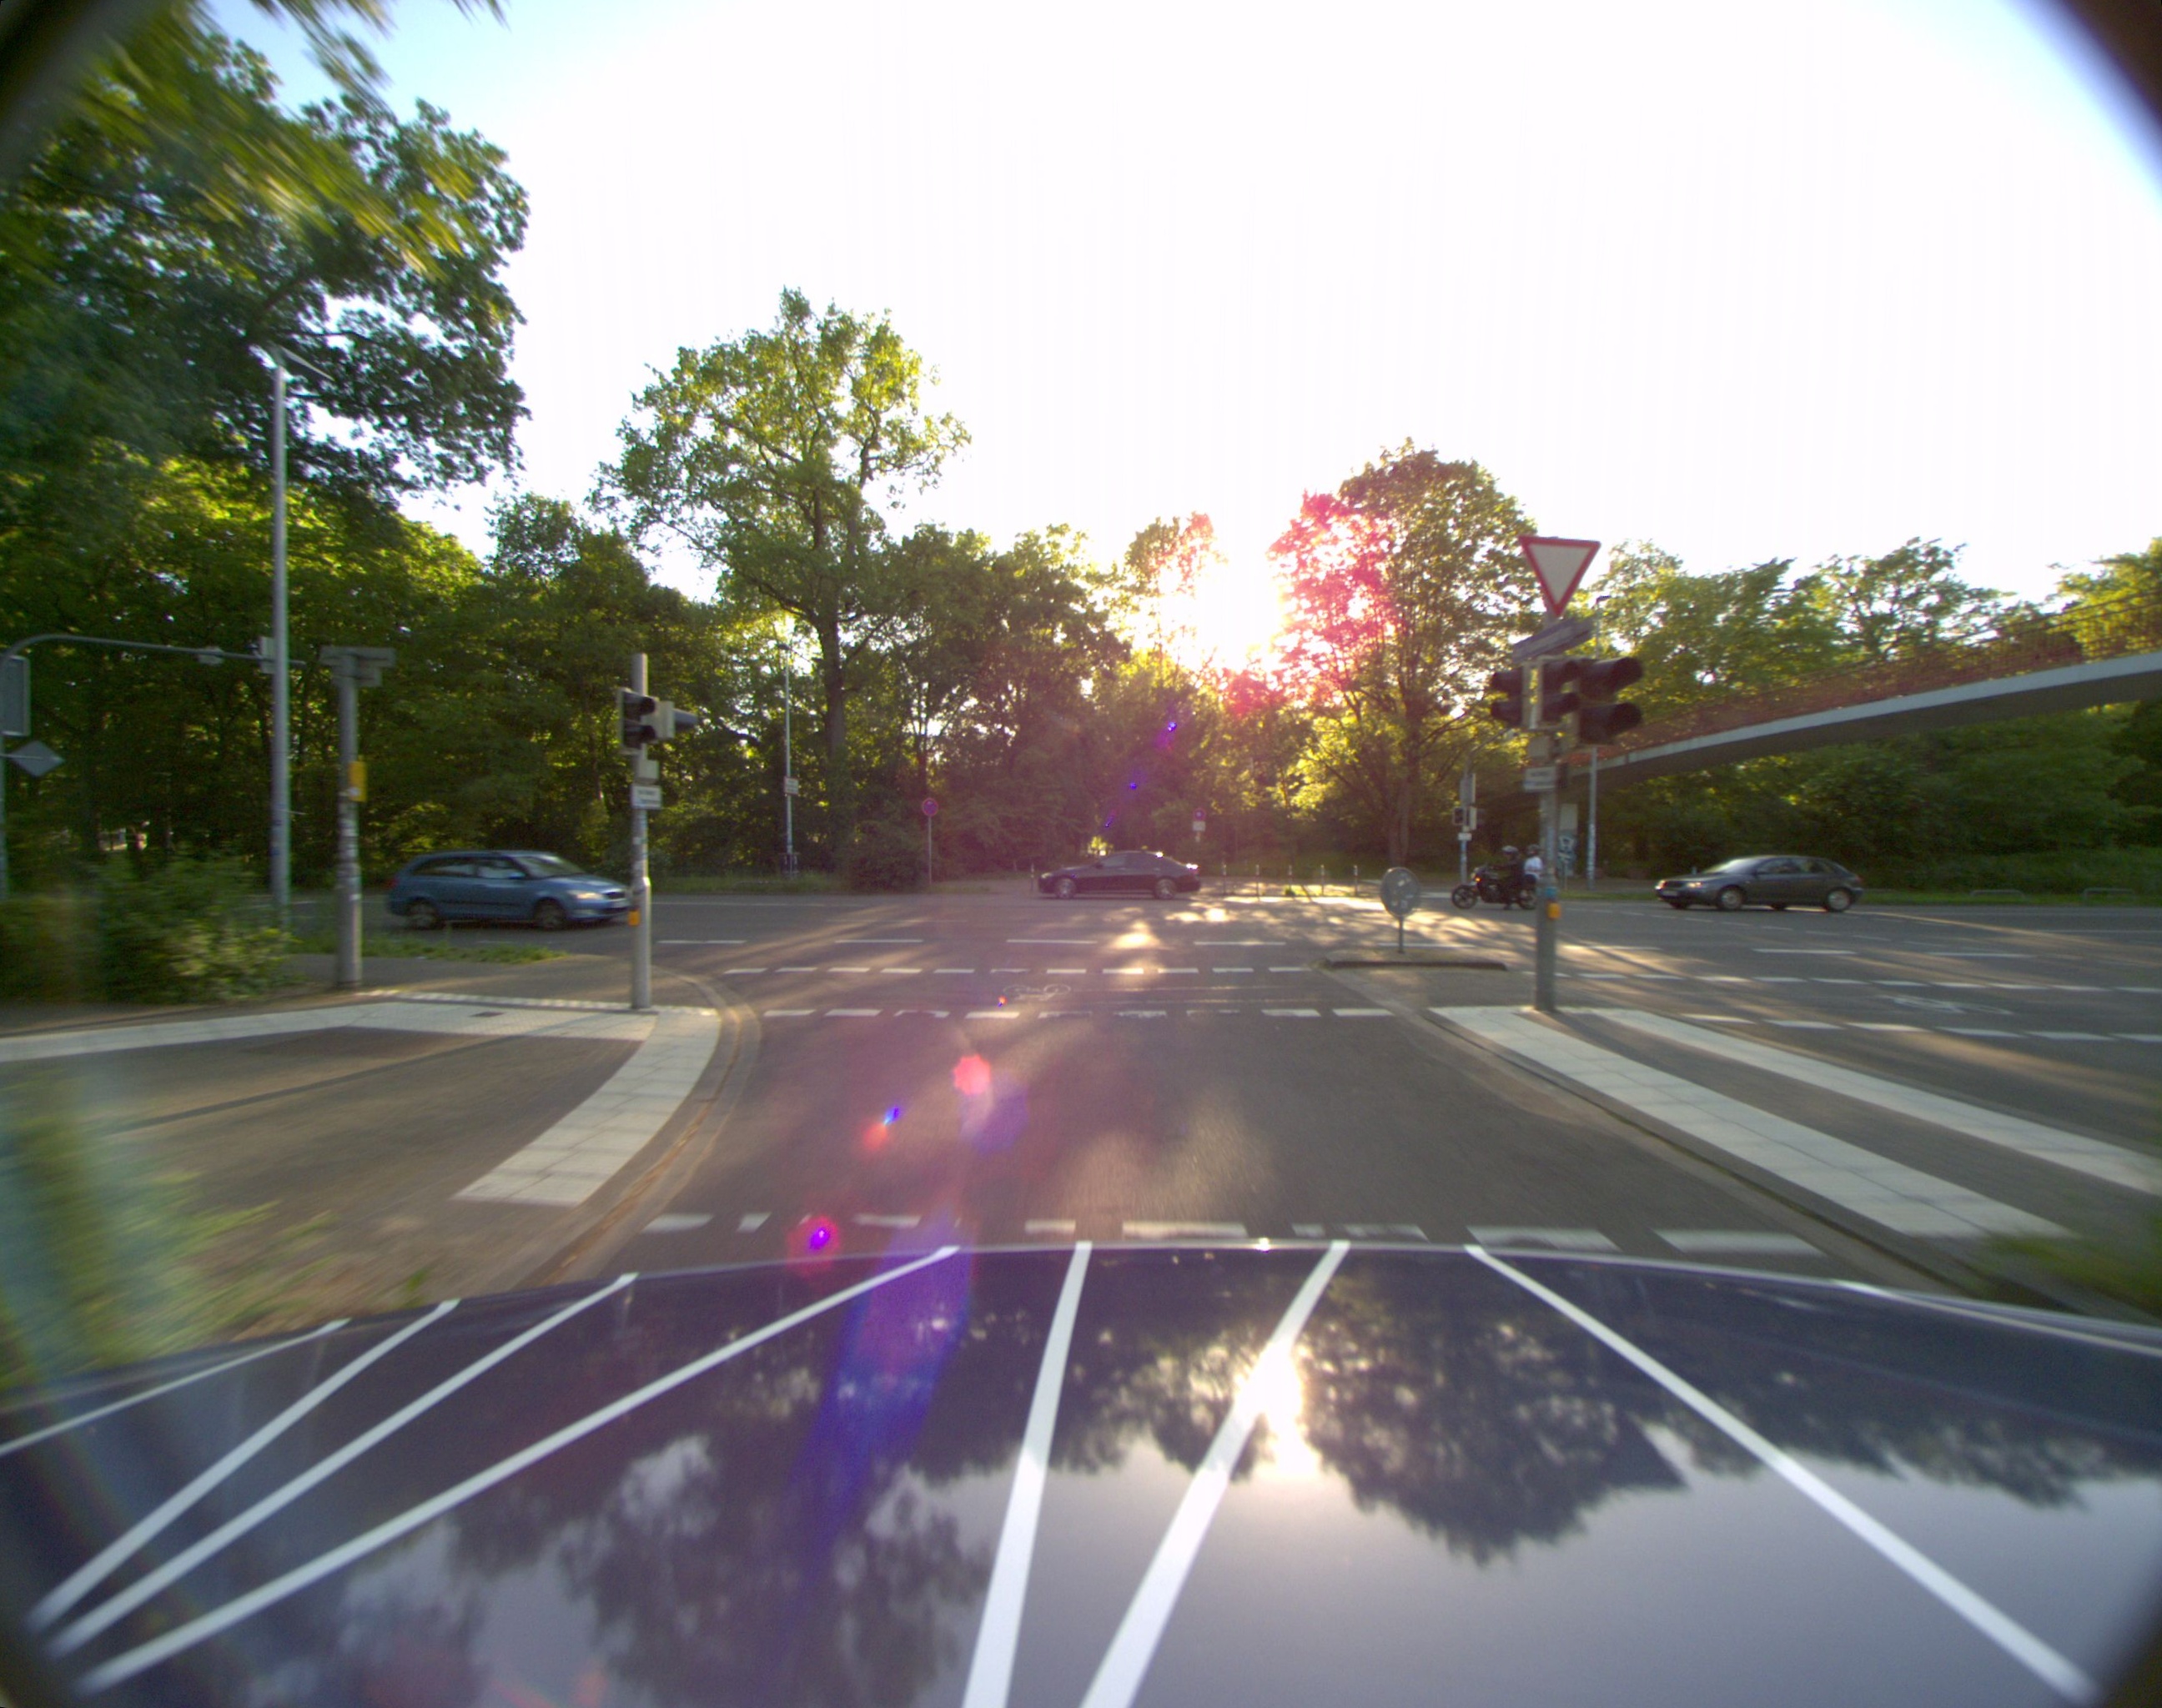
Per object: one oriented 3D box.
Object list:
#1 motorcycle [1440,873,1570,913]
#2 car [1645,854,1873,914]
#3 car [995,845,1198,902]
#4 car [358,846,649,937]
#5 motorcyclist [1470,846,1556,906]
[{"bbox_3d":[10.547,0.974,19.002,2.708,0.908,0.808,-1,1,10],"label":"motorcycle"},{"bbox_3d":[16.828,0.734,19.021,3.996,1.381,1.870,1,-1,2],"label":"car"},{"bbox_3d":[0.455,0.556,23.053,5.882,1.625,2.000,0,1,1],"label":"car"},{"bbox_3d":[-11.135,0.683,14.878,4.315,1.571,1.812,1,3,2],"label":"car"},{"bbox_3d":[10.724,0.541,18.933,1.564,1.419,1.139,-1,1,10],"label":"motorcyclist"}]
